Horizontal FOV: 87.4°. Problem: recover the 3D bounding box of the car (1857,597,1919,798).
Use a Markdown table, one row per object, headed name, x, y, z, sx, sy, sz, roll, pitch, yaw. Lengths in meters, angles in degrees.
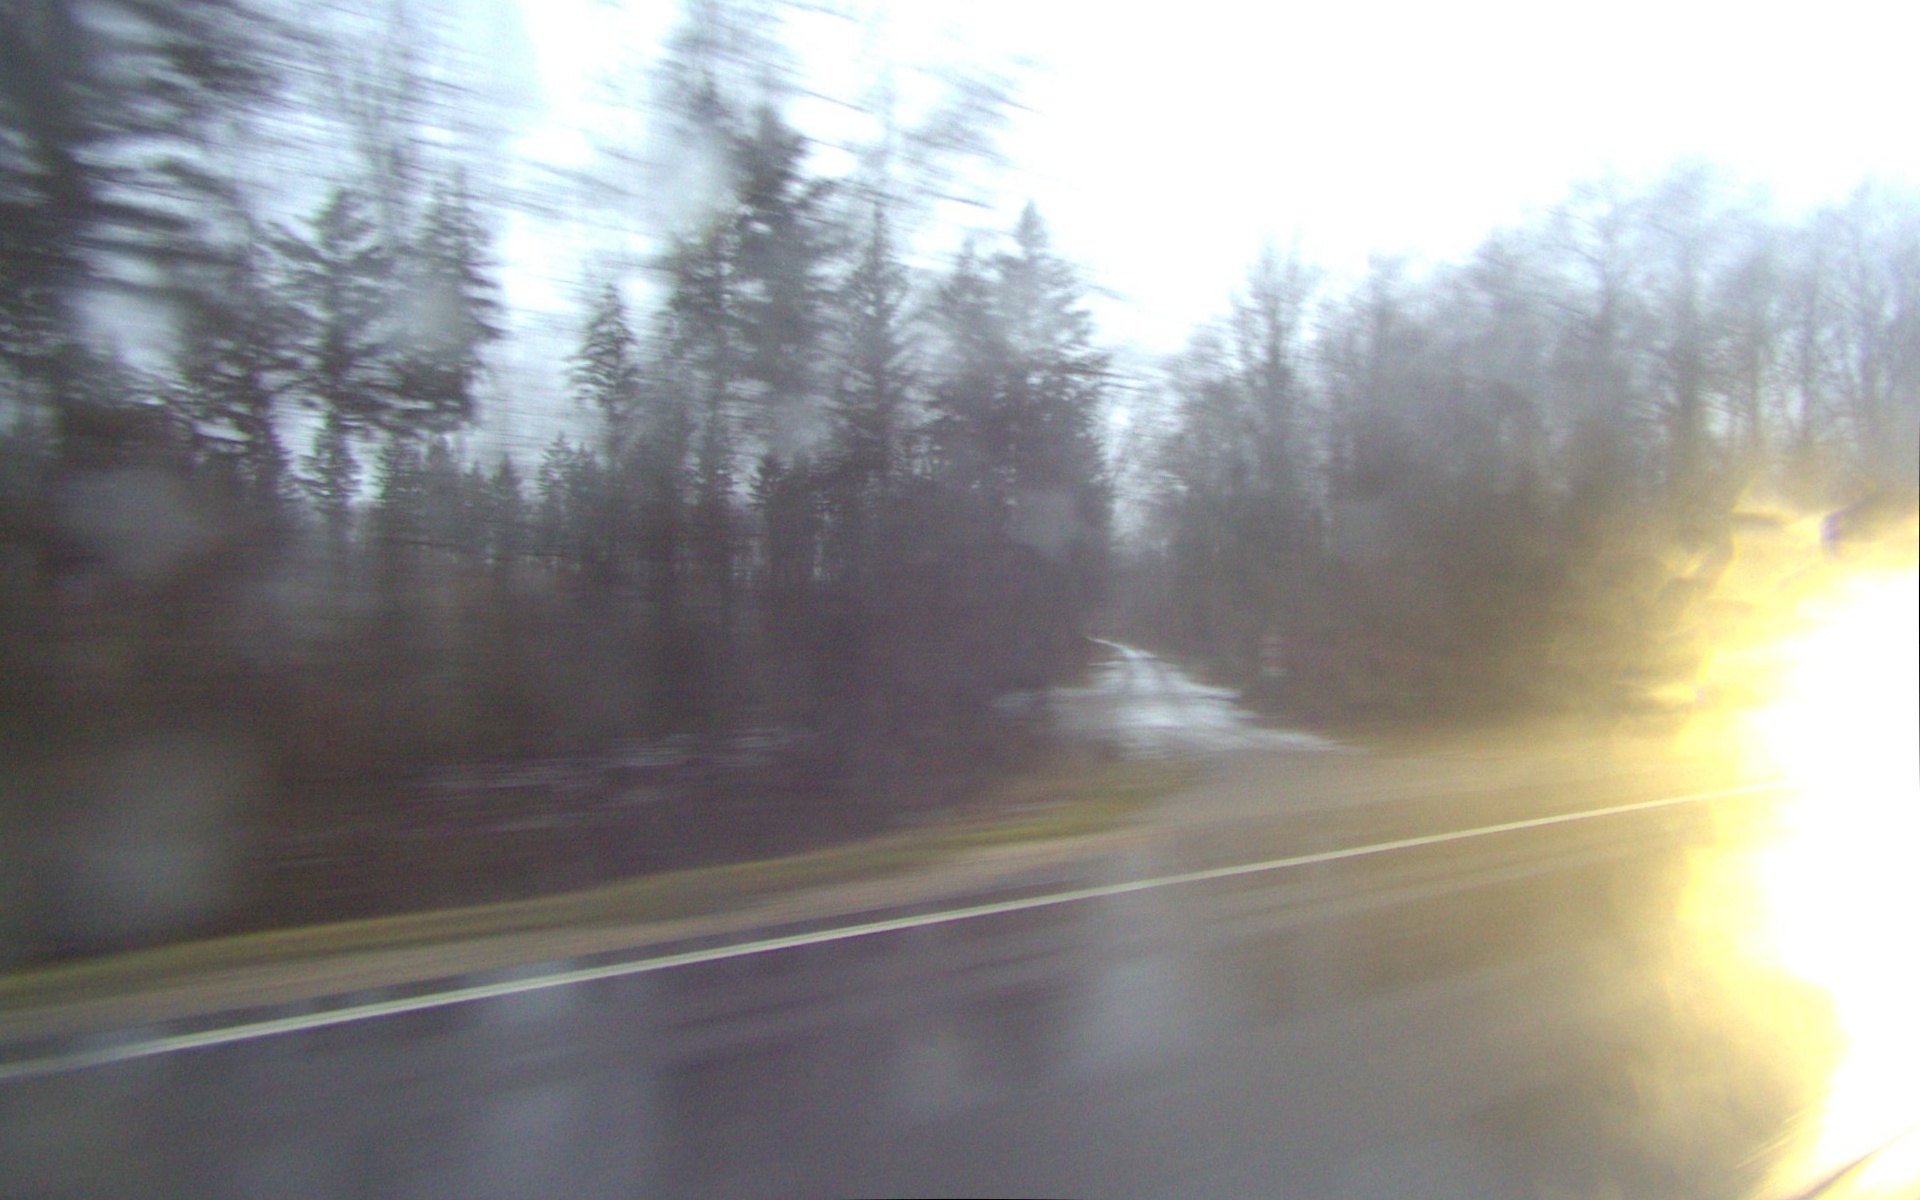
| name | x | y | z | sx | sy | sz | roll | pitch | yaw |
| --- | --- | --- | --- | --- | --- | --- | --- | --- | --- |
| car | 10.865 | 0.936 | 9.979 | 4.235 | 1.846 | 1.698 | 2 | -3 | -31 |
